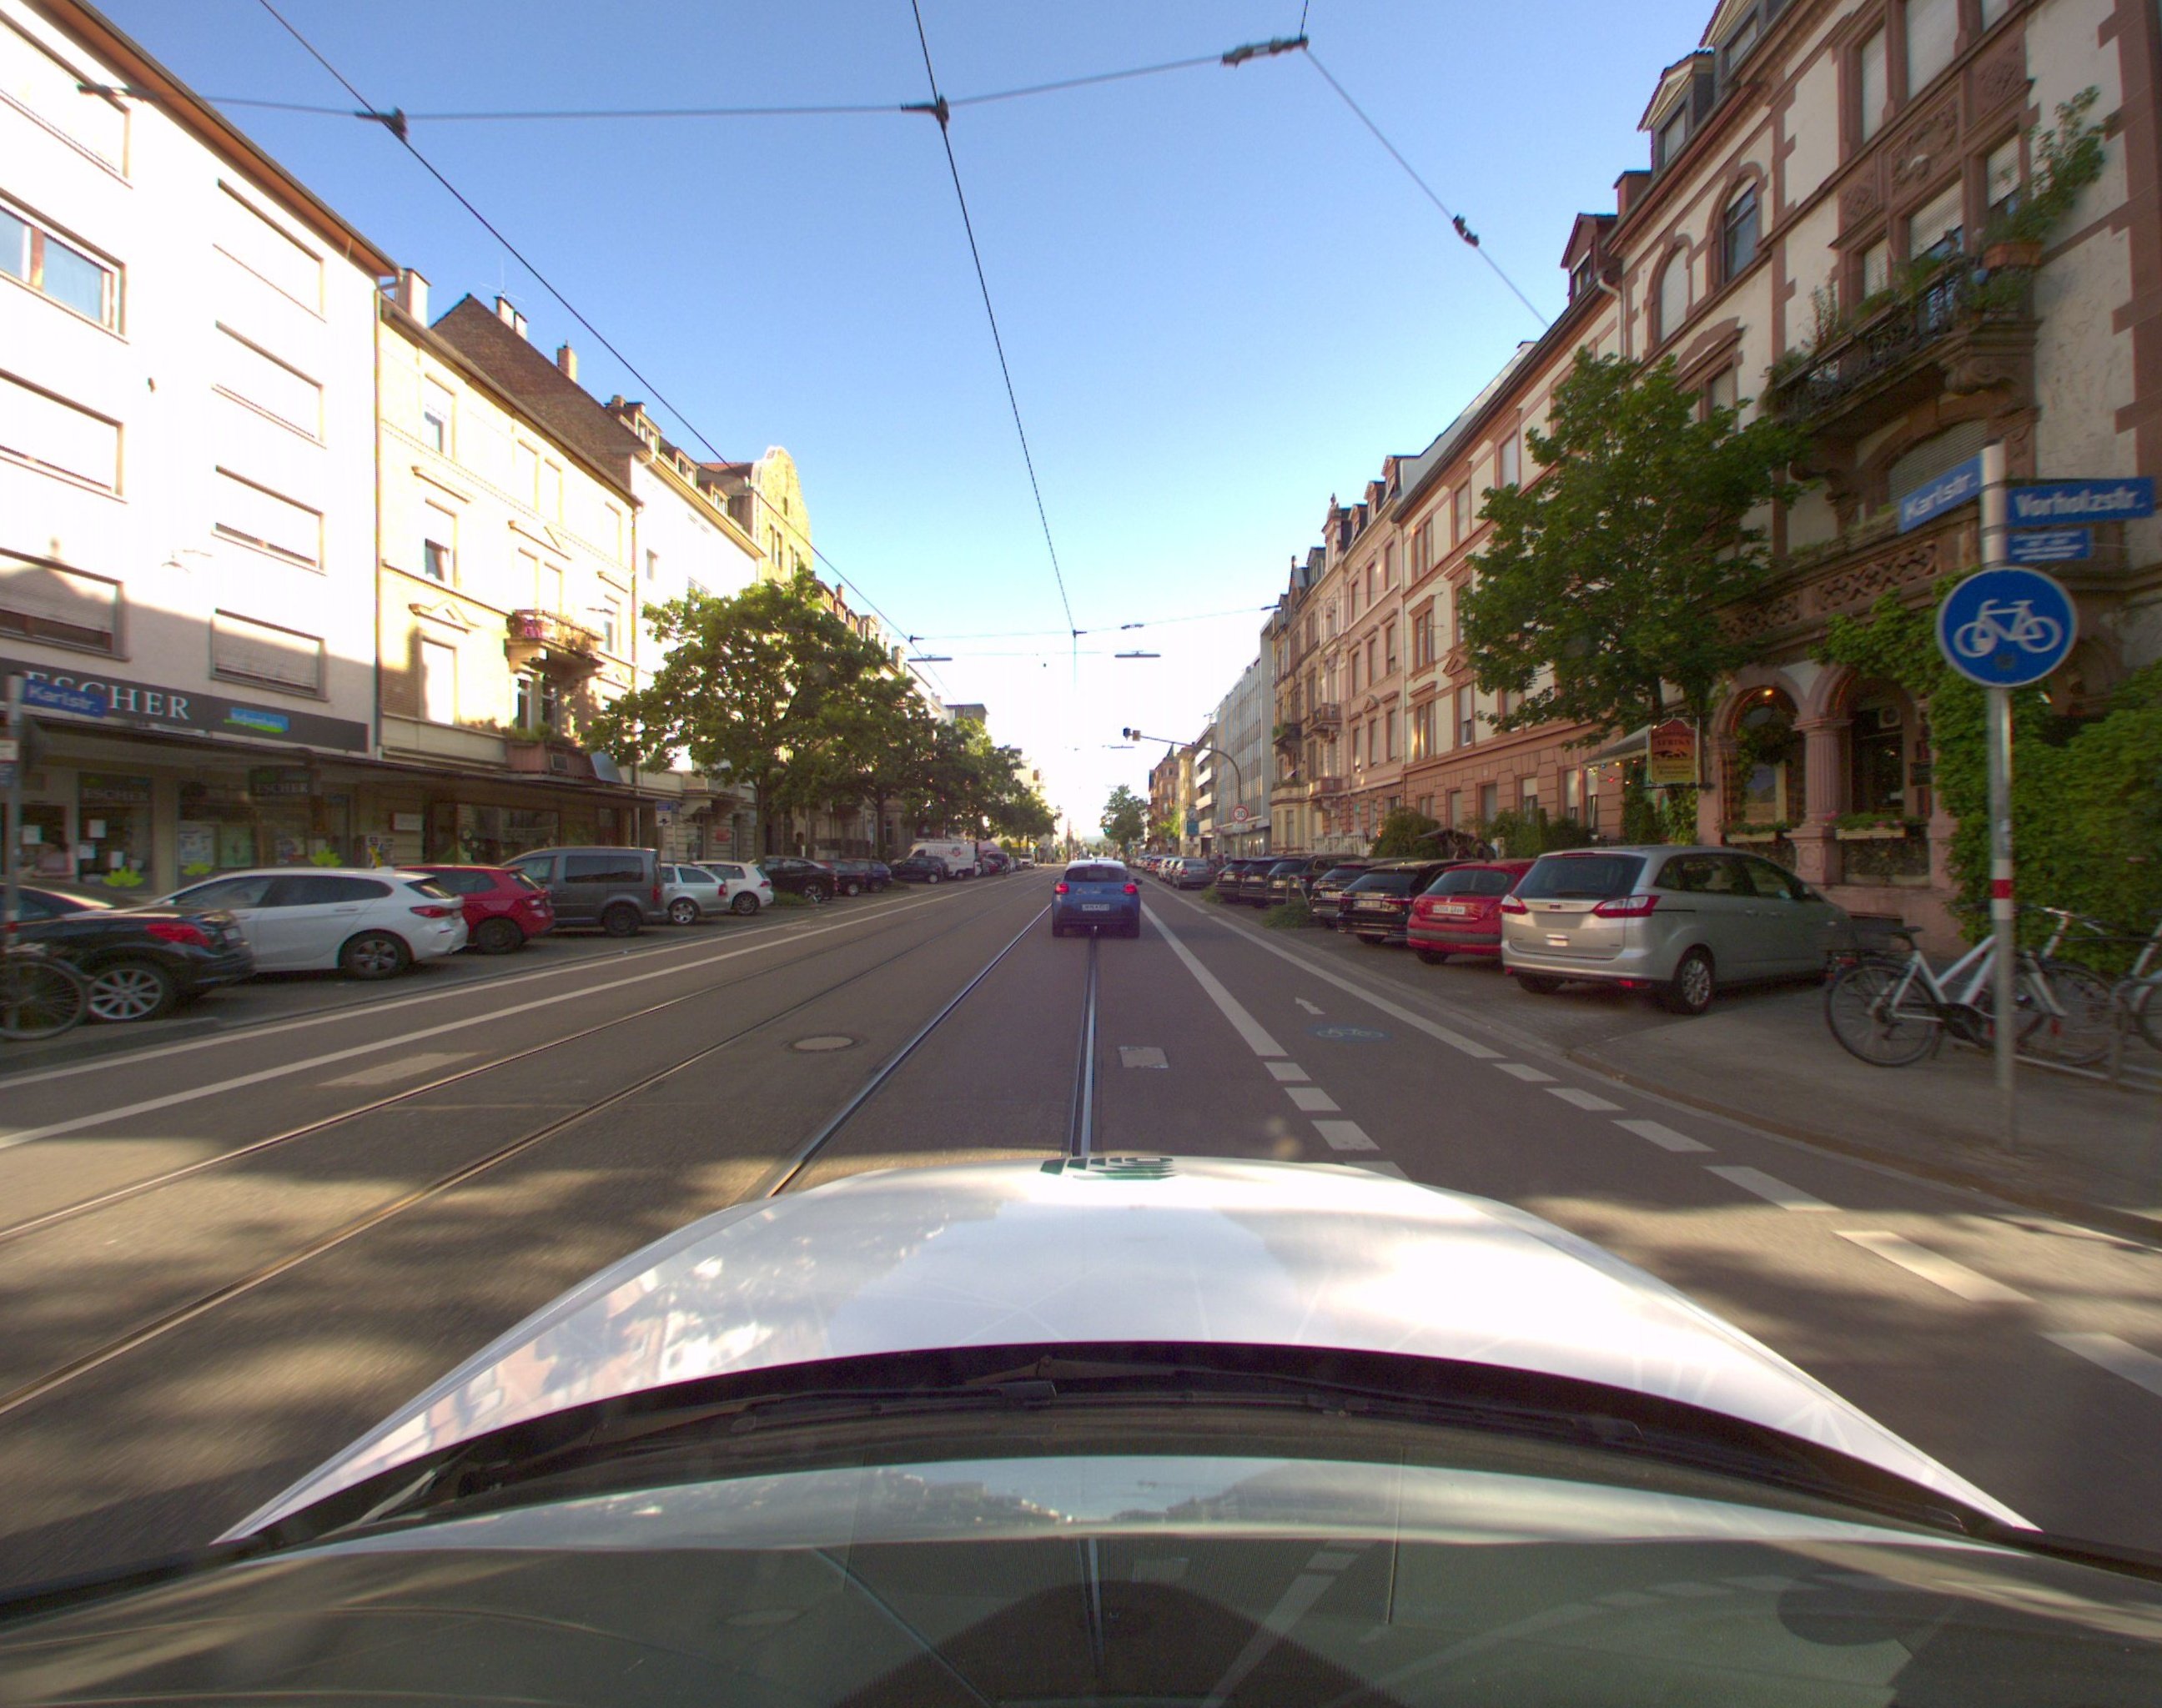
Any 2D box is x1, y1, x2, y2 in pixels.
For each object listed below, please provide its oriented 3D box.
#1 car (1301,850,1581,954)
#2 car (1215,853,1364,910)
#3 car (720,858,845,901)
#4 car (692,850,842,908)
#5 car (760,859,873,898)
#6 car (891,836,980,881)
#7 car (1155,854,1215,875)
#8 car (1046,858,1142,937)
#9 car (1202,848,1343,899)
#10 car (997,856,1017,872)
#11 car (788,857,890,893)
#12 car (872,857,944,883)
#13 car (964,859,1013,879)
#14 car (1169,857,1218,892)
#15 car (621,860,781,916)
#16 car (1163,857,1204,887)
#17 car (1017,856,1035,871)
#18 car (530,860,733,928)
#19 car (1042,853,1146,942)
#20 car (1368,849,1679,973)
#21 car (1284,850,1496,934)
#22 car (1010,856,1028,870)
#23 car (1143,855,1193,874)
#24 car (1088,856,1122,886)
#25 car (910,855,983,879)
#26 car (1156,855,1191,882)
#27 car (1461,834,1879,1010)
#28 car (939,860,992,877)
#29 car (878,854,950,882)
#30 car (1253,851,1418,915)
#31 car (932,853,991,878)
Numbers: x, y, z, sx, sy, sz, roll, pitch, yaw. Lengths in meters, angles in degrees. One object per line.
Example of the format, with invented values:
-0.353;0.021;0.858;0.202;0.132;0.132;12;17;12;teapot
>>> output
6.330;0.770;14.356;4.454;1.596;2.072;1;-1;-24;car
6.323;0.794;24.739;4.004;1.596;2.071;1;-1;-24;car
-10.917;0.897;29.852;4.013;1.489;1.849;1;-1;-31;car
-10.438;0.804;27.125;4.381;1.783;1.976;1;-1;-31;car
-10.615;0.964;32.725;4.013;1.489;1.788;1;-1;-31;car
-9.406;0.314;52.761;5.402;2.749;1.789;1;-1;-29;car
7.787;0.788;60.835;4.465;1.508;1.522;1;-1;-29;car
0.271;0.810;16.688;1.756;1.441;3.557;0;-1;1;car
6.443;0.640;27.452;4.322;1.596;1.967;1;-1;-24;car
-7.501;1.028;82.979;1.743;1.618;4.407;0;-1;-2;car
-10.582;0.891;35.632;4.008;1.489;1.790;1;-1;-27;car
-10.013;0.932;47.163;3.994;1.489;1.797;1;-1;-15;car
-7.673;1.245;67.275;3.736;1.622;1.777;1;-1;-20;car
5.448;0.977;39.895;1.866;1.596;4.721;0;-1;2;car
-10.399;0.892;22.513;3.850;1.430;1.752;1;-1;-25;car
5.644;0.960;45.231;1.866;1.596;4.001;0;-1;2;car
-6.820;1.212;101.908;1.825;1.848;4.215;0;-1;1;car
-10.518;0.882;19.230;4.032;1.449;1.682;1;-1;-31;car
0.296;0.808;16.734;1.866;1.596;4.001;0;-1;2;car
6.370;0.732;11.742;4.004;1.536;1.903;1;-1;-24;car
6.705;0.757;17.587;4.345;1.596;2.026;1;-1;-30;car
-6.687;1.003;88.354;1.743;1.487;4.039;0;-1;-2;car
7.310;0.870;68.151;3.743;1.521;1.949;1;-1;-32;car
1.389;0.938;46.466;1.866;1.596;4.001;0;-1;2;car
-9.448;0.898;57.453;4.787;1.618;1.695;1;-1;-31;car
5.772;0.906;51.087;1.866;1.596;4.001;0;-1;2;car
6.585;0.643;9.095;4.370;1.596;1.839;1;-1;-24;car
-9.008;1.145;63.591;3.815;1.265;1.504;1;-1;-25;car
-10.128;0.858;49.307;4.005;1.618;1.699;1;-1;-25;car
6.899;0.744;22.079;4.004;1.596;1.944;1;-1;-24;car
-8.803;0.841;60.110;4.005;1.817;1.699;1;-1;-25;car
